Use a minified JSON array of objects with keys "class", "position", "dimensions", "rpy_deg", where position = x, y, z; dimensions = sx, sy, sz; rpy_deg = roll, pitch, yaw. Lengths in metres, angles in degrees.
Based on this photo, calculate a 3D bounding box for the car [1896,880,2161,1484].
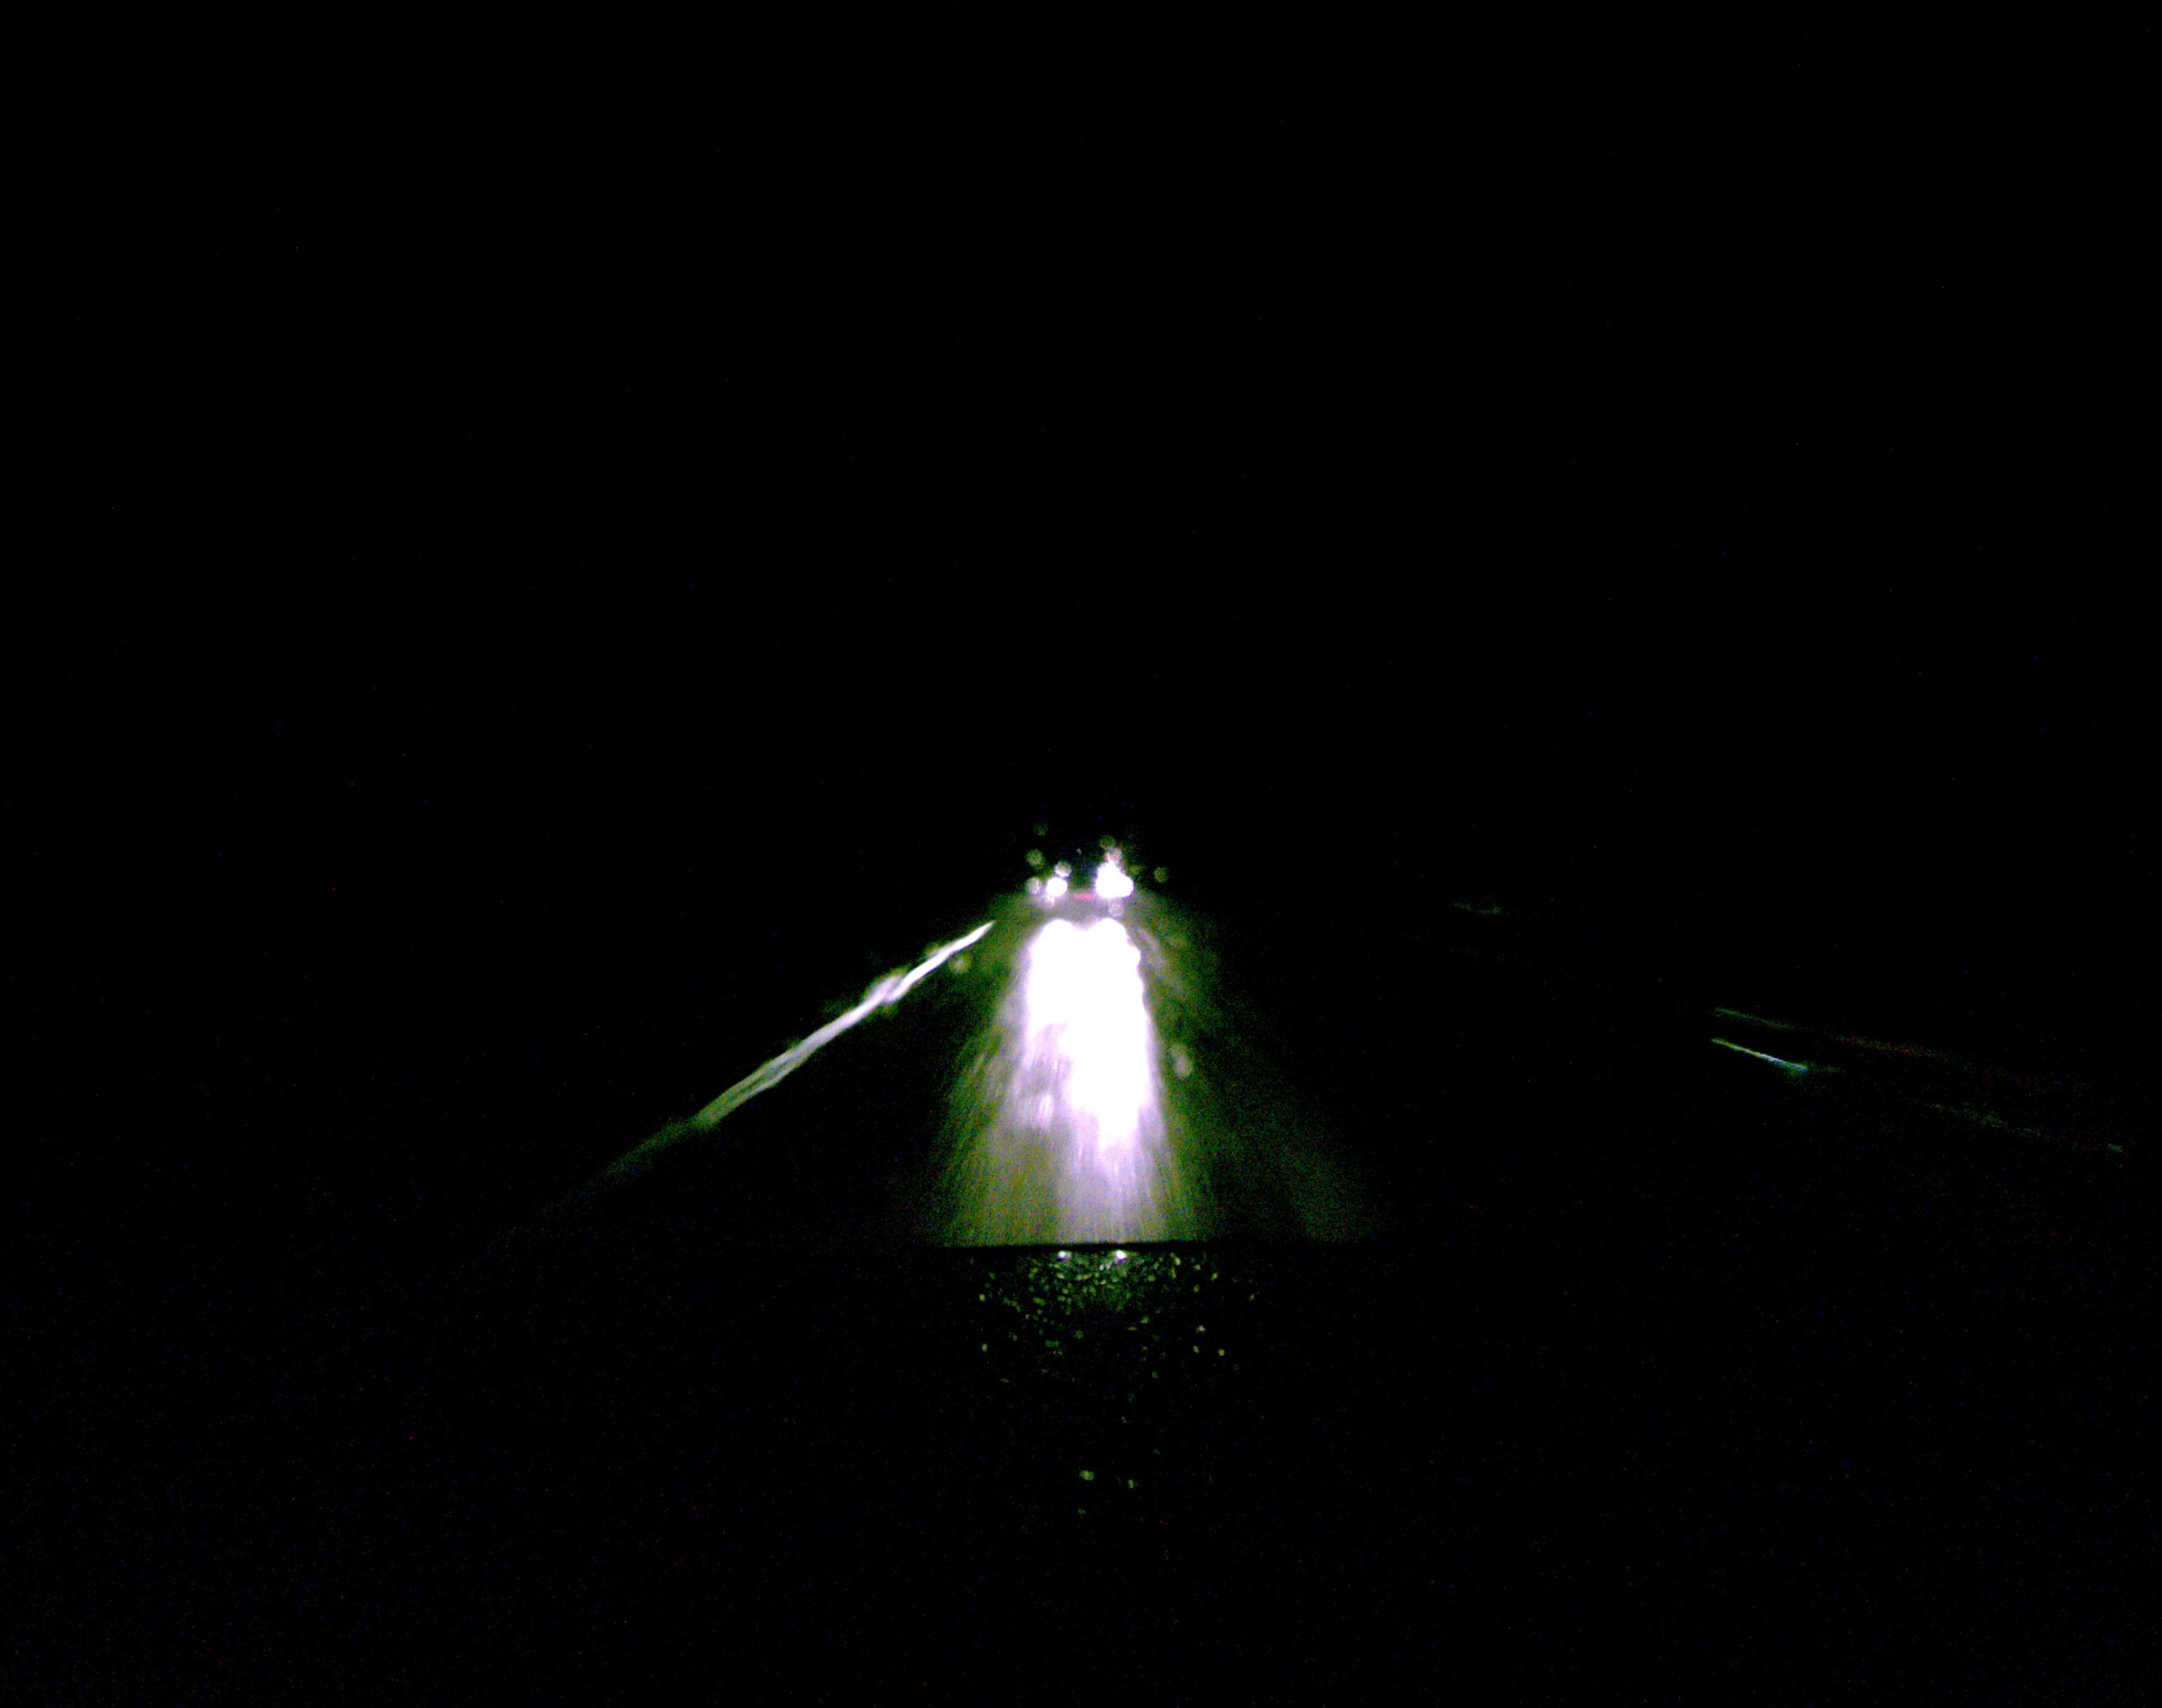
[{"class":"car","position":[3.743,0.814,0.464],"dimensions":[1.867,1.535,4.229],"rpy_deg":[-3,-1,0]}]

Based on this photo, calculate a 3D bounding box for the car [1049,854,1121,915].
[{"class":"car","position":[0.225,0.843,22.840],"dimensions":[1.862,1.601,4.421],"rpy_deg":[-2,0,4]}]
